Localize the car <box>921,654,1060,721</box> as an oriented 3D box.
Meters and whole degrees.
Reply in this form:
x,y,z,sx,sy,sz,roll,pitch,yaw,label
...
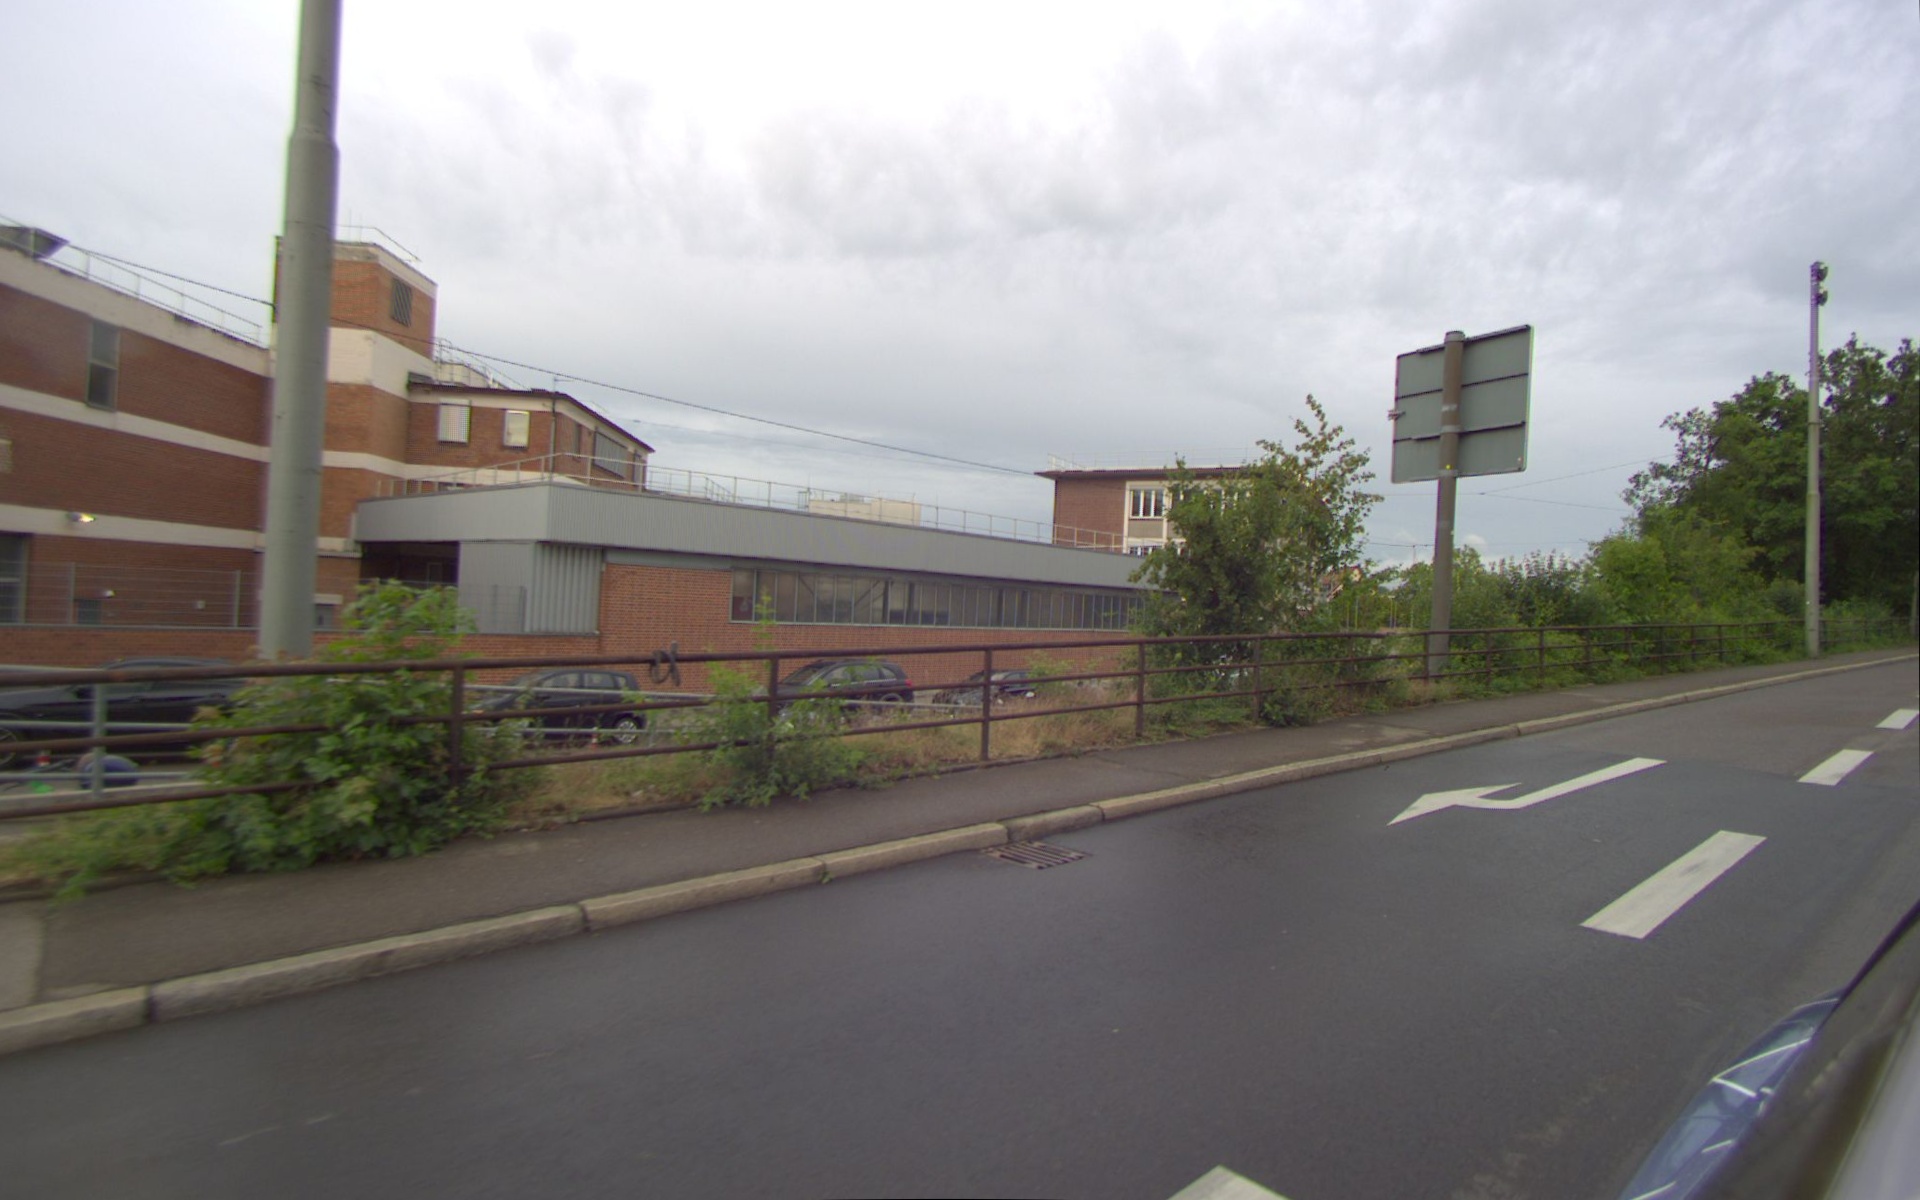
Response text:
x,y,z,sx,sy,sz,roll,pitch,yaw,label
0.906,2.410,28.658,3.791,1.574,1.700,1,0,-42,car

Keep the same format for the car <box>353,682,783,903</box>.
x,y,z,sx,sy,sz,roll,pitch,yaw,label
-3.932,1.786,10.505,3.791,1.574,1.700,1,0,-42,car

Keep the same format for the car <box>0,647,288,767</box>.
x,y,z,sx,sy,sz,roll,pitch,yaw,label
-13.120,1.610,15.742,4.189,1.630,1.700,4,-3,-42,car

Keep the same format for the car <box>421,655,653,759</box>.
x,y,z,sx,sy,sz,roll,pitch,yaw,label
-8.271,2.019,19.955,3.863,1.648,1.700,1,0,-42,car

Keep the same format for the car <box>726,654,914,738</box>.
x,y,z,sx,sy,sz,roll,pitch,yaw,label
-3.302,2.221,24.448,4.354,1.652,1.635,1,0,-42,car
